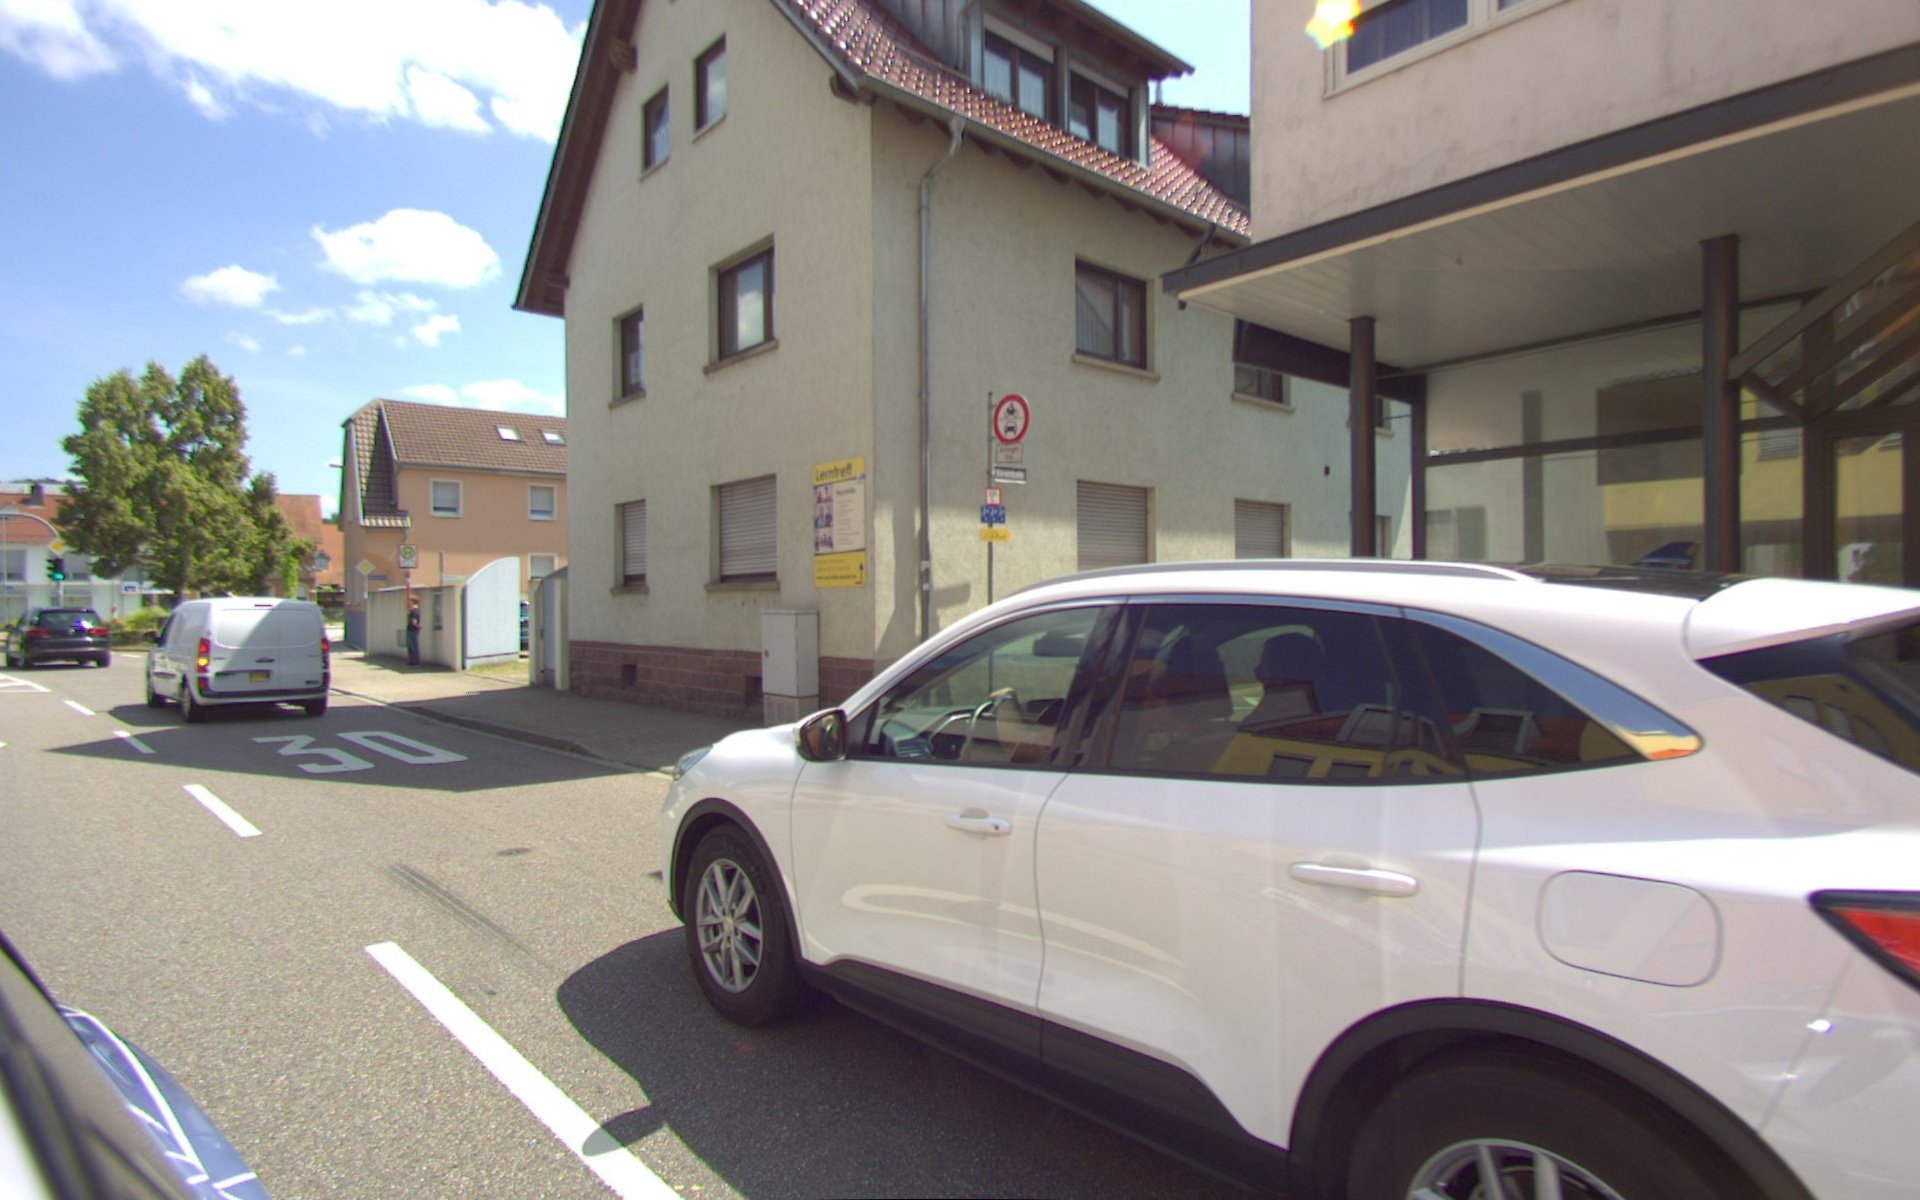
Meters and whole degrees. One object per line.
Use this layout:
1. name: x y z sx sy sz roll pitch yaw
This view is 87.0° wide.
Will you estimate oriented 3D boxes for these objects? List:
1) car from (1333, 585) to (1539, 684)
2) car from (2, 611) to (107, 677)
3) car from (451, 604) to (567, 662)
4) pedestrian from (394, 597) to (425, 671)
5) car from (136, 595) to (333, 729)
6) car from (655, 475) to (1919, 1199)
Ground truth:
1. car: 8.165 0.514 17.212 3.940 1.474 1.893 -1 0 -44
2. car: -24.416 1.125 27.238 4.000 1.623 1.729 -1 0 43
3. car: -13.531 0.945 30.286 4.000 1.623 1.729 -1 0 43
4. pedestrian: -13.300 0.811 24.444 0.476 1.777 0.467 -1 -1 25
5. car: -11.648 0.879 16.110 4.602 1.844 1.762 -1 -1 44
6. car: 0.889 0.650 3.064 1.796 1.566 4.203 2 -2 -43
